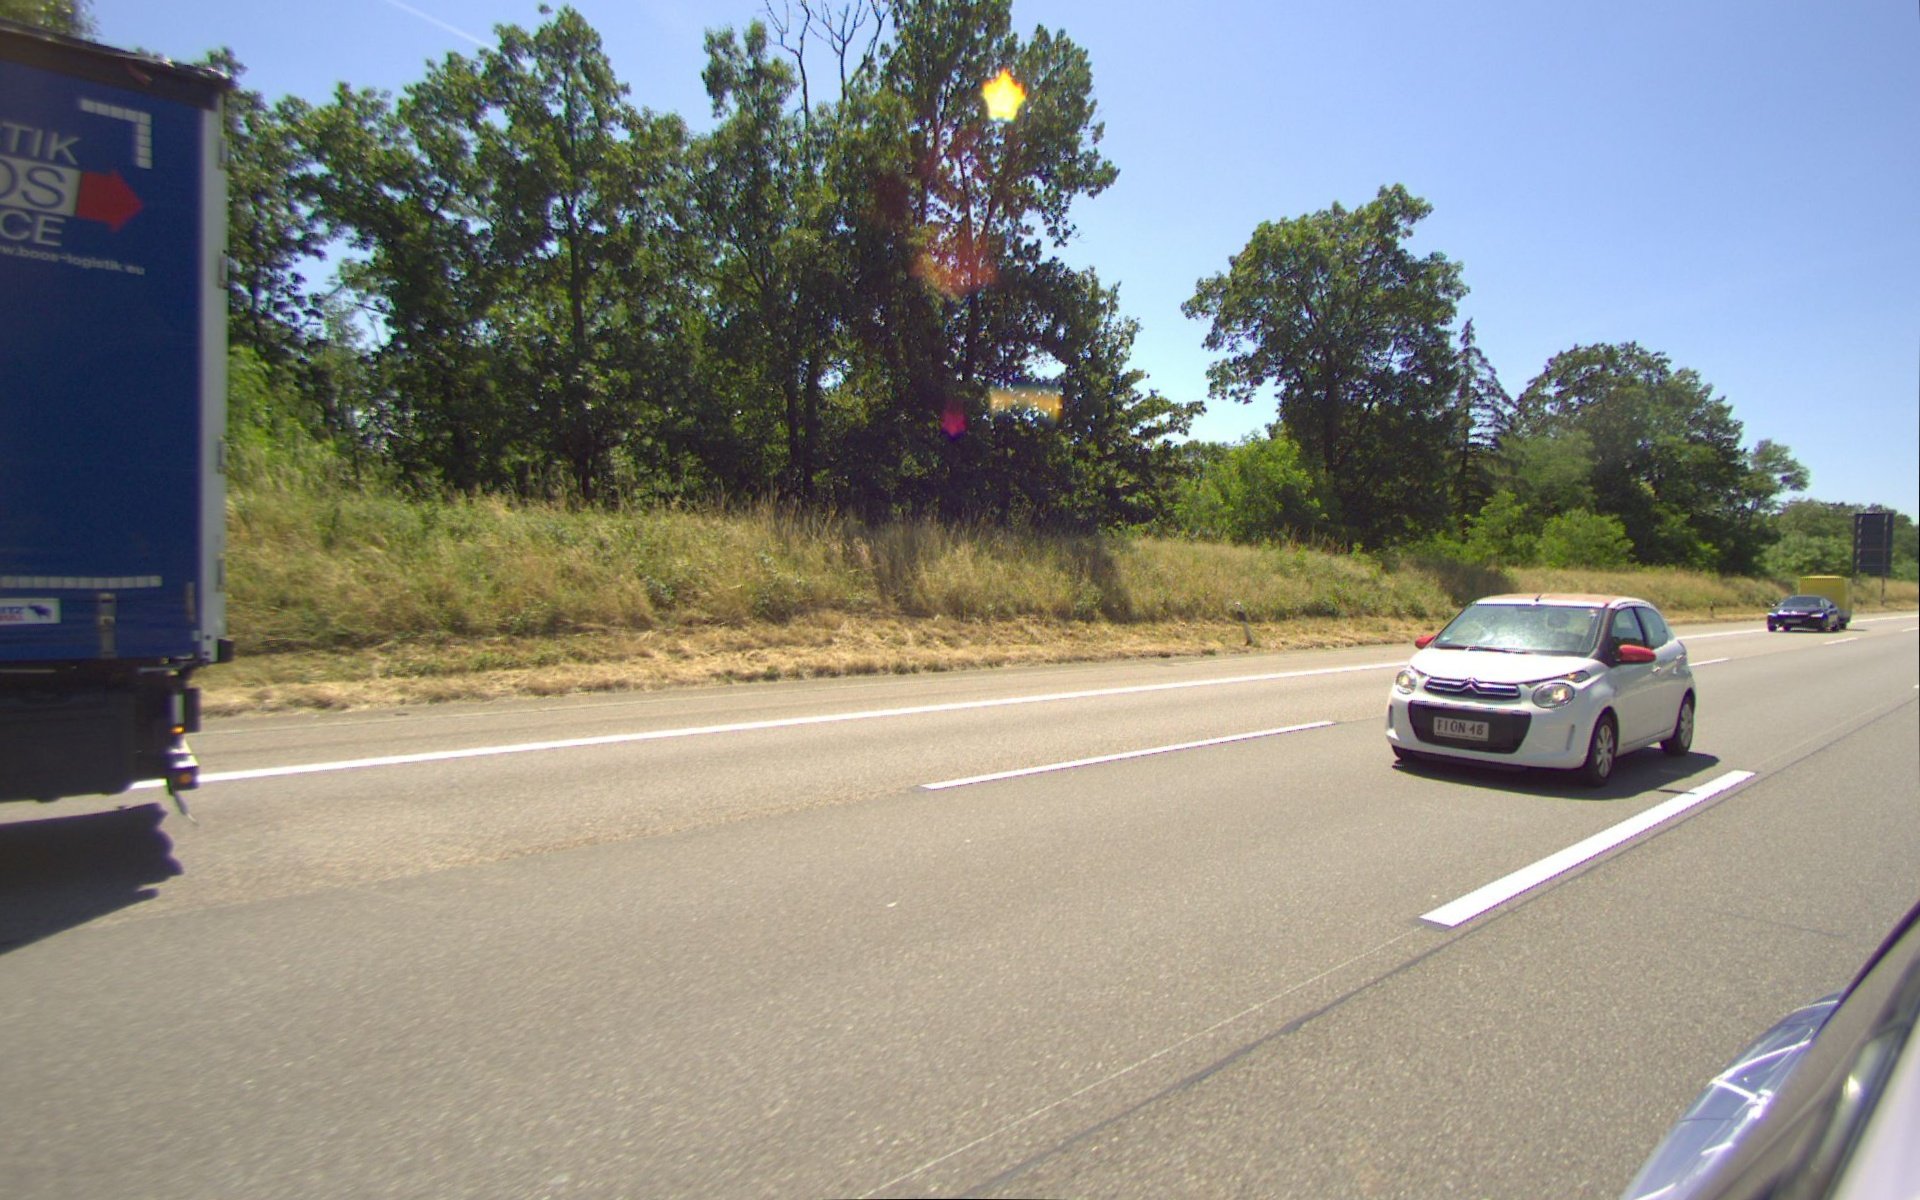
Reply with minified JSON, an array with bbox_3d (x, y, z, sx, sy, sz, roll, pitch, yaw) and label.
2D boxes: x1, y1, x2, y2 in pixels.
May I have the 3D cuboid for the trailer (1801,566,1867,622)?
[{"bbox_3d":[37.827,-0.257,43.771,3.773,2.318,1.705,0,0,-42],"label":"trailer"}]

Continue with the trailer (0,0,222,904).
[{"bbox_3d":[-9.814,-0.705,1.980,13.329,4.272,3.291,-1,0,-41],"label":"trailer"}]

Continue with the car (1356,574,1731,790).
[{"bbox_3d":[5.336,0.560,9.053,3.953,1.514,1.711,0,1,-41],"label":"car"}]

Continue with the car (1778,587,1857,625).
[{"bbox_3d":[34.690,0.202,40.895,4.706,1.474,1.824,0,1,-42],"label":"car"}]
